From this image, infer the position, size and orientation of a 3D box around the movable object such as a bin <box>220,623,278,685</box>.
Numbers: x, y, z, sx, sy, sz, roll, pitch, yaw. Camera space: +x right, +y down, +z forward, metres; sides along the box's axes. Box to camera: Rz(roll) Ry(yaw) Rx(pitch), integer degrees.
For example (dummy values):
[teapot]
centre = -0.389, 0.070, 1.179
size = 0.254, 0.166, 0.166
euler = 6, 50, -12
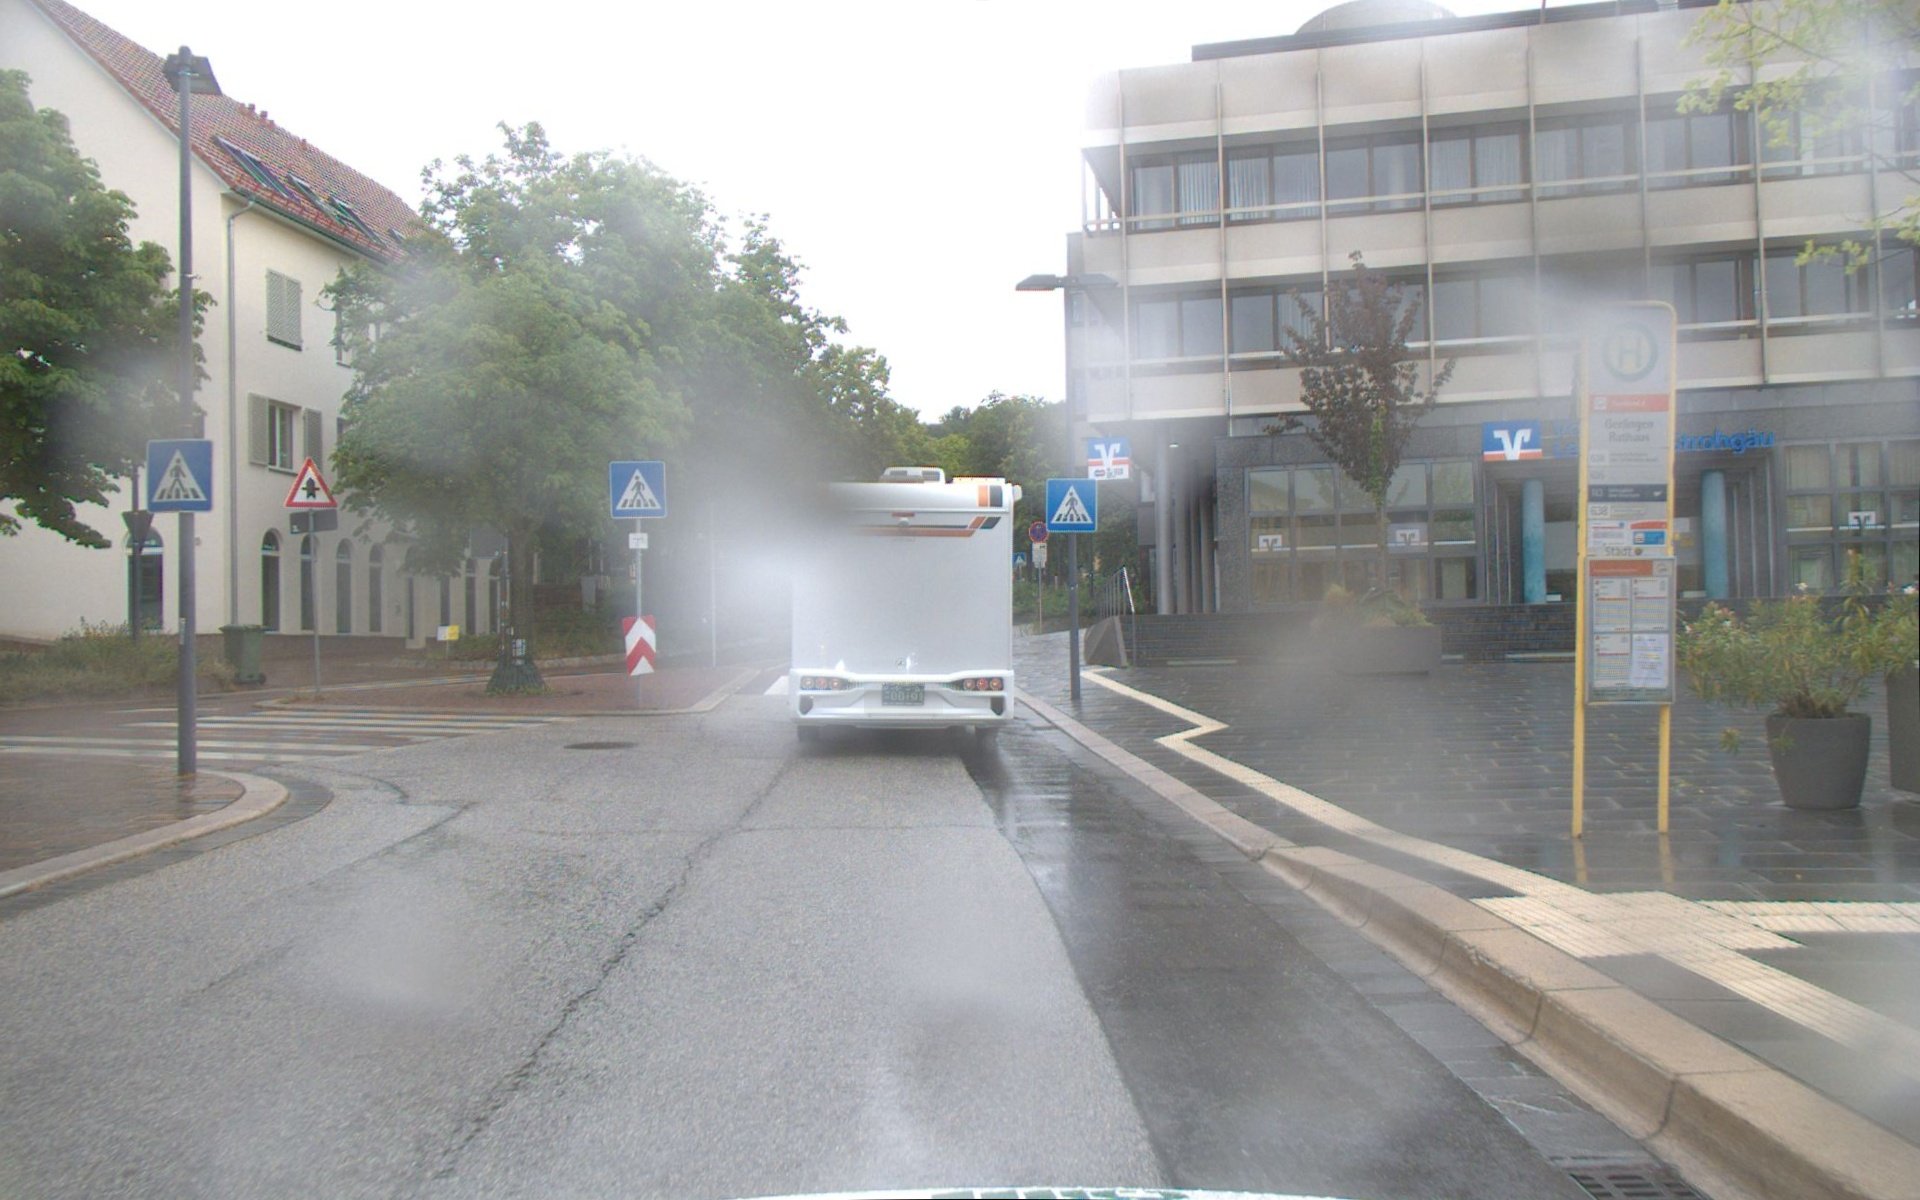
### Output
[movable object such as a bin]
centre = -12.870, 0.979, 29.955
size = 0.621, 1.077, 0.698
euler = -3, -1, 23

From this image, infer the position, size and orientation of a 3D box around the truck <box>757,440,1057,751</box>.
[truck]
centre = -0.627, 0.006, 18.830
size = 2.750, 2.846, 6.103
euler = -2, -1, -2
